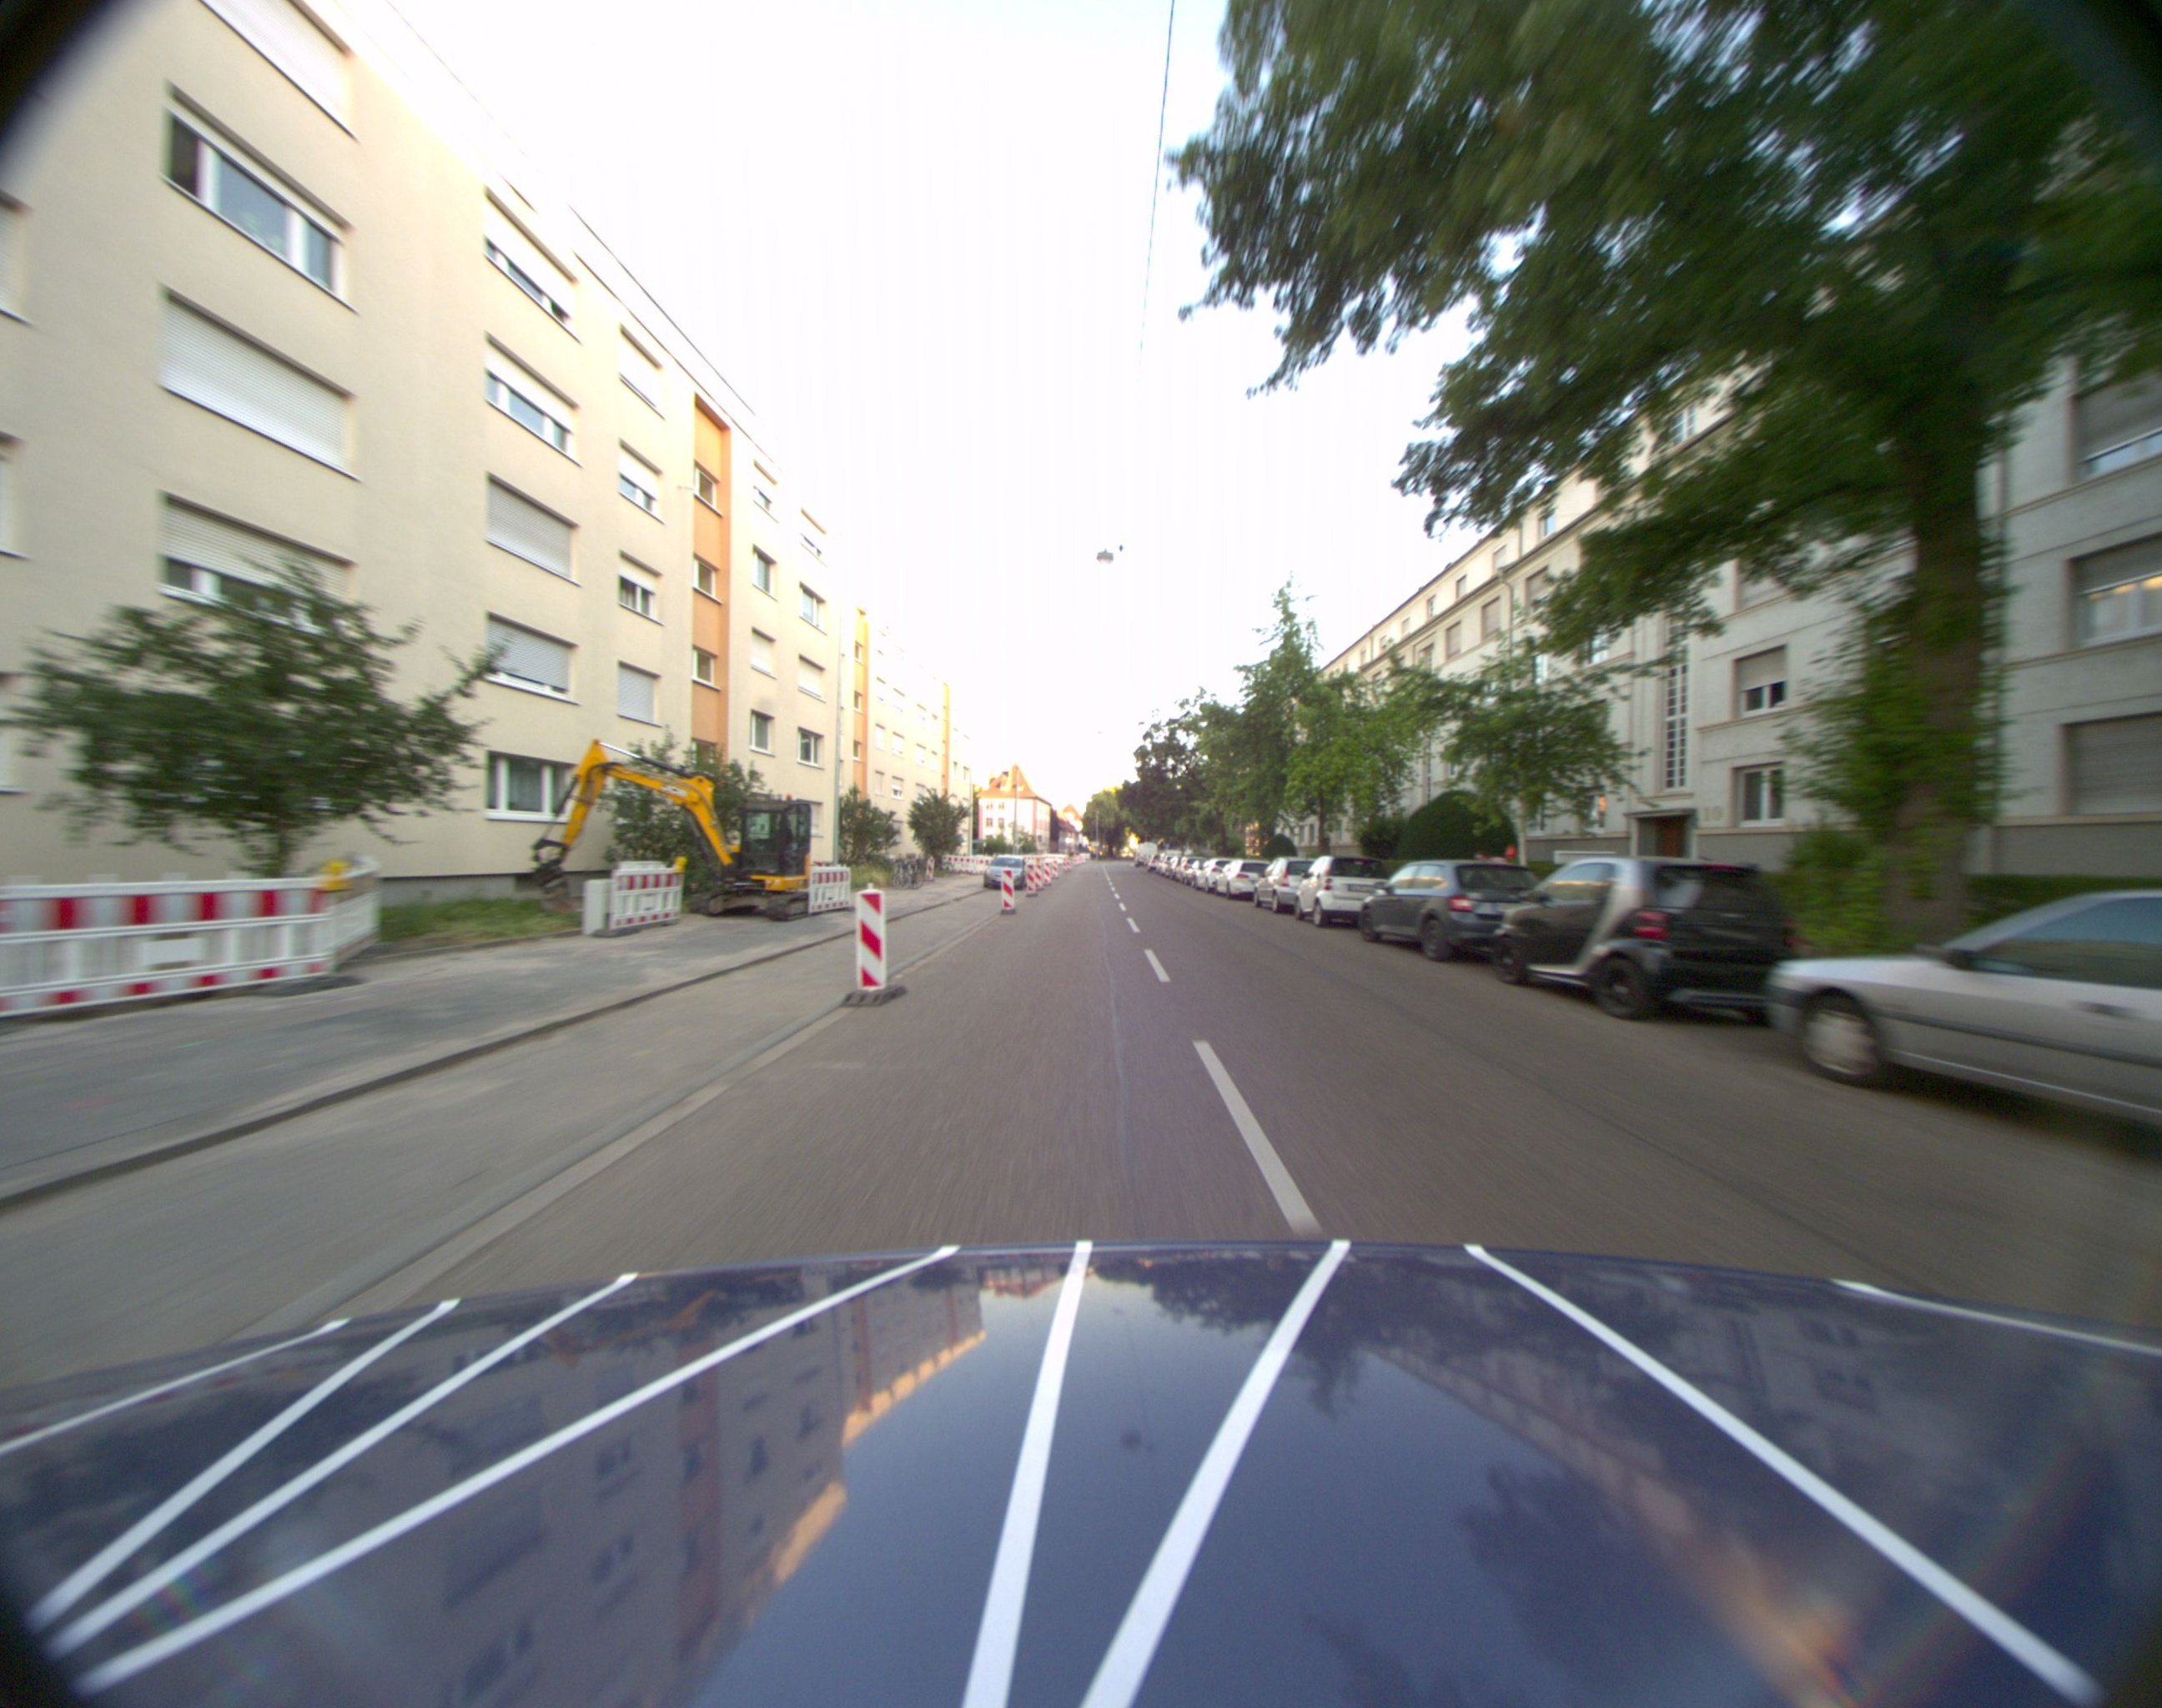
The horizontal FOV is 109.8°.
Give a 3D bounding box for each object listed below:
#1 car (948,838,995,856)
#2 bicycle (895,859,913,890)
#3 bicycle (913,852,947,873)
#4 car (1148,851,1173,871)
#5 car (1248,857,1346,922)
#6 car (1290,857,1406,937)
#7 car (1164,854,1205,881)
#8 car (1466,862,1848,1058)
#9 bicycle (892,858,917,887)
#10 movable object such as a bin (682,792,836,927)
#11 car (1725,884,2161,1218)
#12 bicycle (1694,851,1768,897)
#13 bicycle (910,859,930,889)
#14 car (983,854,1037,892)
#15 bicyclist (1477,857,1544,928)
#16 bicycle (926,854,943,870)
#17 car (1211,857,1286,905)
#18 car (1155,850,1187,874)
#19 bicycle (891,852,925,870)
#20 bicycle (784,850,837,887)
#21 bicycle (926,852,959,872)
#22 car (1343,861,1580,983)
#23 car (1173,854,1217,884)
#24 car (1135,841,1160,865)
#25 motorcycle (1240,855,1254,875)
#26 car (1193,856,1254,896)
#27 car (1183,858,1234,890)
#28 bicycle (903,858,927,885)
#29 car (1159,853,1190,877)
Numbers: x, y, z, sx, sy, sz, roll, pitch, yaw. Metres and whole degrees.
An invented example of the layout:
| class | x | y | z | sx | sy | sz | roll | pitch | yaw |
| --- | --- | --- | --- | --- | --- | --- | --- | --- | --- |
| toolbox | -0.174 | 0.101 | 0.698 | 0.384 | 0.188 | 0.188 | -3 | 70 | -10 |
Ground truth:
| class | x | y | z | sx | sy | sz | roll | pitch | yaw |
| --- | --- | --- | --- | --- | --- | --- | --- | --- | --- |
| car | -12.856 | -0.806 | 89.704 | 5.029 | 2.117 | 2.291 | 0 | 1 | 9 |
| bicycle | -7.065 | 0.799 | 30.305 | 0.628 | 1.165 | 1.814 | 0 | 1 | -15 |
| bicycle | -8.688 | 0.486 | 43.721 | 1.755 | 0.981 | 0.558 | 6 | 2 | 10 |
| car | 6.492 | 0.571 | 62.455 | 1.756 | 1.463 | 4.224 | 3 | 1 | 2 |
| car | 5.895 | 0.906 | 21.168 | 1.594 | 1.496 | 3.799 | 3 | 1 | 1 |
| car | 5.817 | 0.878 | 16.903 | 1.593 | 1.520 | 2.922 | 3 | 1 | 3 |
| car | 6.336 | 0.780 | 46.808 | 1.757 | 1.471 | 4.678 | 3 | 1 | -1 |
| car | 5.698 | 0.921 | 8.040 | 1.527 | 1.520 | 3.164 | 3 | 1 | 0 |
| bicycle | -7.497 | 0.782 | 32.342 | 0.557 | 1.165 | 1.817 | 0 | 1 | 4 |
| movable object such as a bin | -6.905 | 0.091 | 16.611 | 1.937 | 2.677 | 2.892 | 1 | 1 | 6 |
| car | 5.706 | 0.988 | 3.678 | 1.594 | 1.396 | 4.181 | 3 | 1 | 1 |
| bicycle | 17.779 | 0.522 | 20.844 | 0.557 | 1.223 | 1.817 | 0 | 1 | 4 |
| bicycle | -6.536 | 0.784 | 30.797 | 0.558 | 1.165 | 1.813 | 0 | 1 | -19 |
| car | -3.231 | 0.812 | 35.391 | 1.780 | 1.482 | 4.573 | 4 | 1 | 2 |
| bicyclist | 8.657 | 0.755 | 15.342 | 0.810 | 1.396 | 0.973 | 0 | 1 | 1 |
| bicycle | -9.029 | 0.473 | 46.750 | 0.559 | 0.860 | 1.610 | 4 | 2 | -27 |
| car | 5.950 | 0.905 | 27.467 | 1.696 | 1.451 | 4.483 | 3 | 1 | 1 |
| car | 6.694 | 0.567 | 56.948 | 1.757 | 1.622 | 4.106 | 3 | 1 | 0 |
| bicycle | -10.162 | 0.400 | 44.697 | 1.821 | 0.916 | 0.556 | 4 | 2 | -40 |
| bicycle | -8.972 | 0.475 | 25.227 | 1.597 | 1.215 | 0.485 | 0 | 1 | -5 |
| bicycle | -8.283 | 0.497 | 45.449 | 1.815 | 1.017 | 0.558 | 5 | 2 | 2 |
| car | 5.742 | 0.923 | 12.103 | 1.594 | 1.458 | 4.101 | 3 | 1 | -1 |
| car | 6.240 | 0.808 | 41.988 | 1.679 | 1.451 | 3.704 | 3 | 1 | -1 |
| car | 7.108 | -0.134 | 81.702 | 2.184 | 2.447 | 6.103 | 3 | 1 | 1 |
| motorcycle | 10.873 | 0.714 | 49.820 | 0.588 | 1.317 | 1.828 | 1 | 1 | 1 |
| car | 5.954 | 0.881 | 32.166 | 1.696 | 1.451 | 4.144 | 3 | 1 | -1 |
| car | 6.176 | 0.926 | 37.204 | 1.678 | 1.324 | 4.579 | 3 | 1 | 0 |
| bicycle | -7.508 | 0.757 | 34.391 | 0.557 | 1.165 | 1.817 | 0 | 1 | 4 |
| car | 6.415 | 0.707 | 52.382 | 1.756 | 1.471 | 3.944 | 3 | 1 | 2 |
